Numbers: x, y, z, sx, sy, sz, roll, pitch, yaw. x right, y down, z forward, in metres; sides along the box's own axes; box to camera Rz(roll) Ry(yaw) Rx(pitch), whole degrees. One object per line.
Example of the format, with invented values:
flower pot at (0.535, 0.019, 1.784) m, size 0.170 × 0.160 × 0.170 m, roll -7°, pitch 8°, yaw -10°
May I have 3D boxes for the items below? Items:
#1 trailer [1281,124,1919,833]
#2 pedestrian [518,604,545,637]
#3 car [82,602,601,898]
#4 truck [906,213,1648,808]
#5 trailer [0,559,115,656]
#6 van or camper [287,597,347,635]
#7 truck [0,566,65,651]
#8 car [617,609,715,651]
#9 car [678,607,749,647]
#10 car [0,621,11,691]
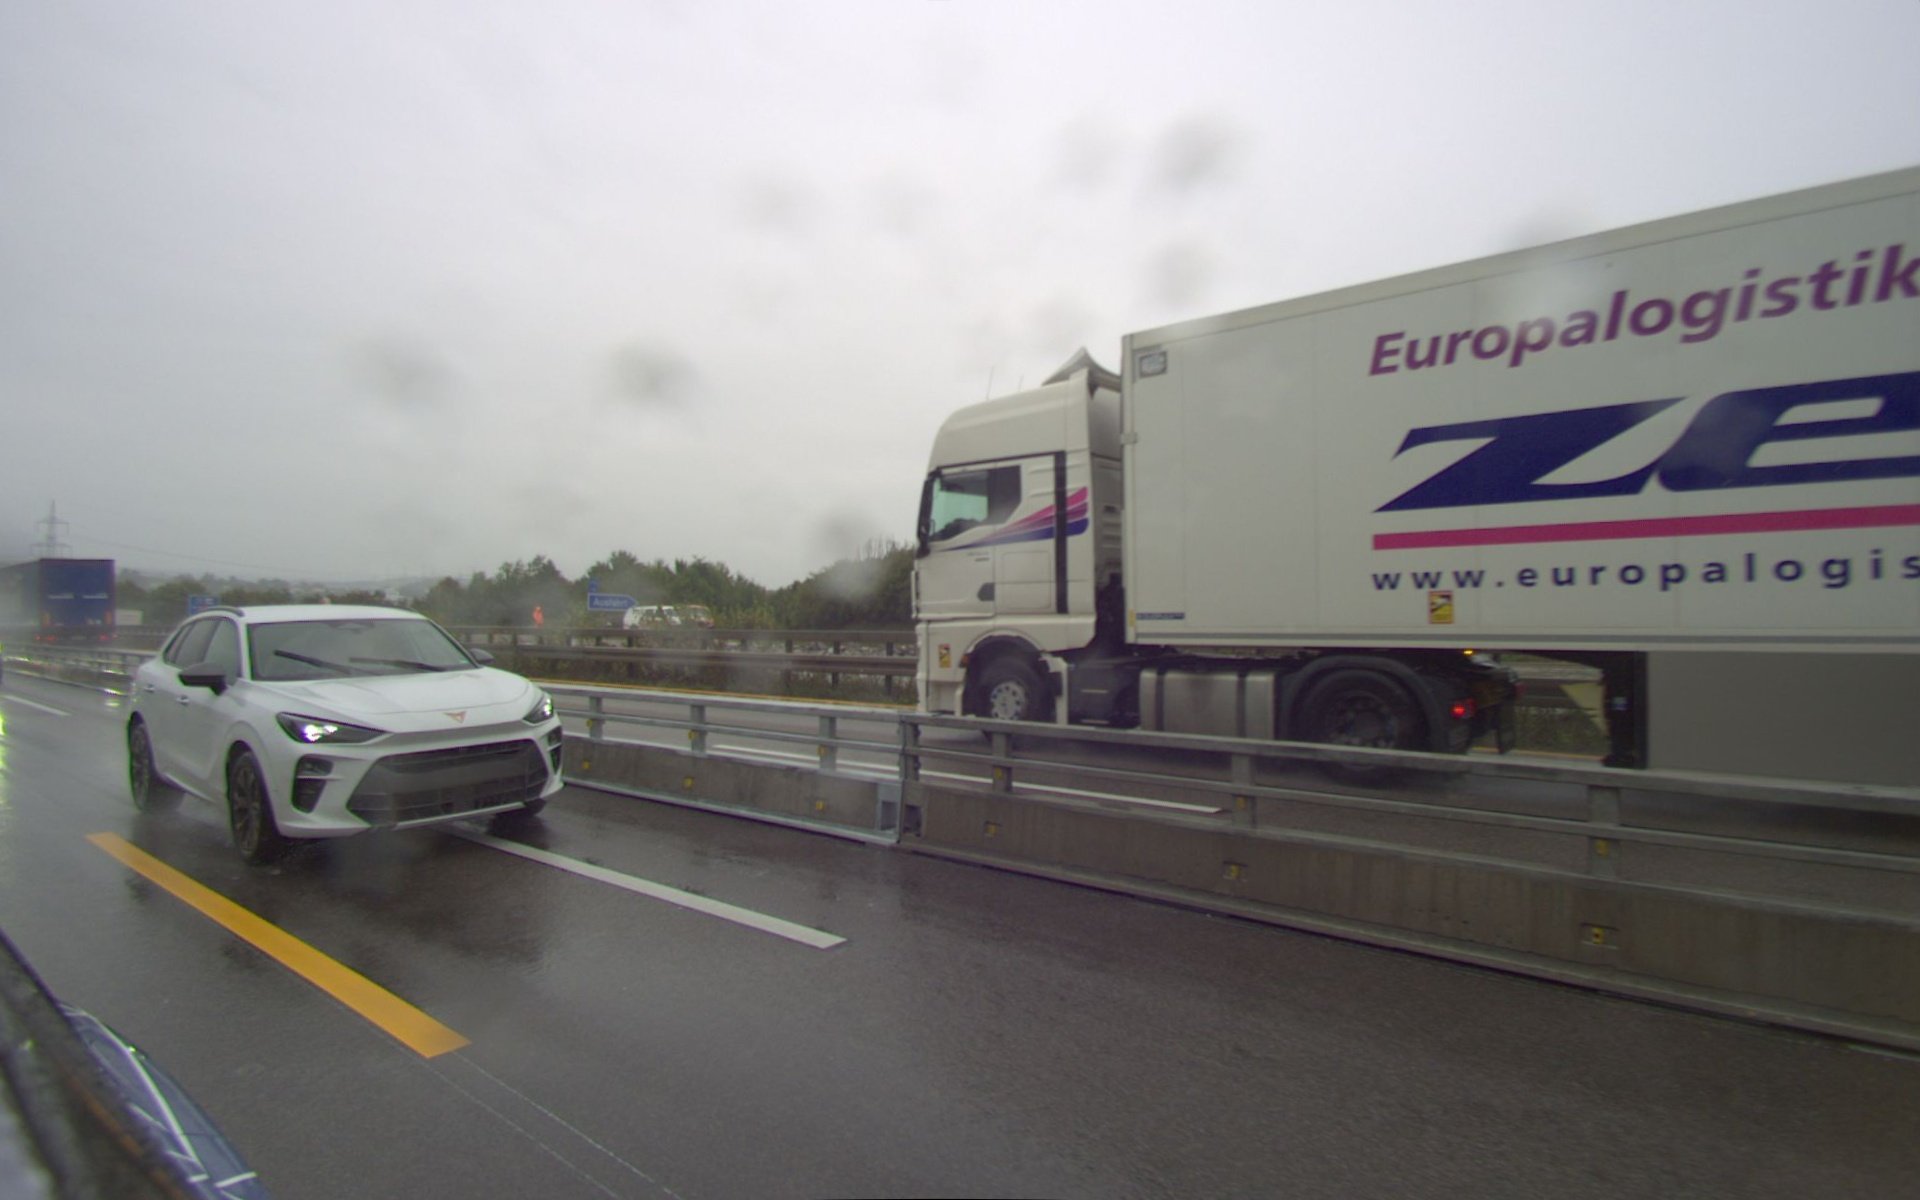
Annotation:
trailer at (8.222, -0.770, 5.109) m, size 12.579 × 4.080 × 2.468 m, roll -2°, pitch -2°, yaw 41°
pedestrian at (-26.744, 1.270, 63.215) m, size 1.124 × 2.029 × 1.095 m, roll -1°, pitch 0°, yaw 36°
car at (-4.936, 0.840, 7.713) m, size 5.003 × 1.562 × 1.908 m, roll -1°, pitch -1°, yaw 40°
truck at (2.664, -0.529, 9.961) m, size 6.445 × 4.062 × 2.457 m, roll -2°, pitch -1°, yaw 41°
trailer at (-43.071, 0.404, 47.759) m, size 12.417 × 4.108 × 2.574 m, roll -1°, pitch -1°, yaw 39°
van or camper at (-76.774, 1.877, 120.791) m, size 8.494 × 4.356 × 3.335 m, roll -1°, pitch 0°, yaw 38°
truck at (-48.636, 0.480, 52.224) m, size 6.661 × 4.113 × 2.598 m, roll -2°, pitch -1°, yaw 39°
car at (-14.852, 1.480, 51.010) m, size 5.359 × 1.981 × 2.073 m, roll -1°, pitch -1°, yaw 39°
car at (-13.782, 1.462, 56.281) m, size 2.330 × 2.092 × 5.595 m, roll 0°, pitch -1°, yaw -30°
car at (-25.145, 1.362, 24.940) m, size 5.192 × 1.640 × 2.043 m, roll -1°, pitch -1°, yaw 41°
